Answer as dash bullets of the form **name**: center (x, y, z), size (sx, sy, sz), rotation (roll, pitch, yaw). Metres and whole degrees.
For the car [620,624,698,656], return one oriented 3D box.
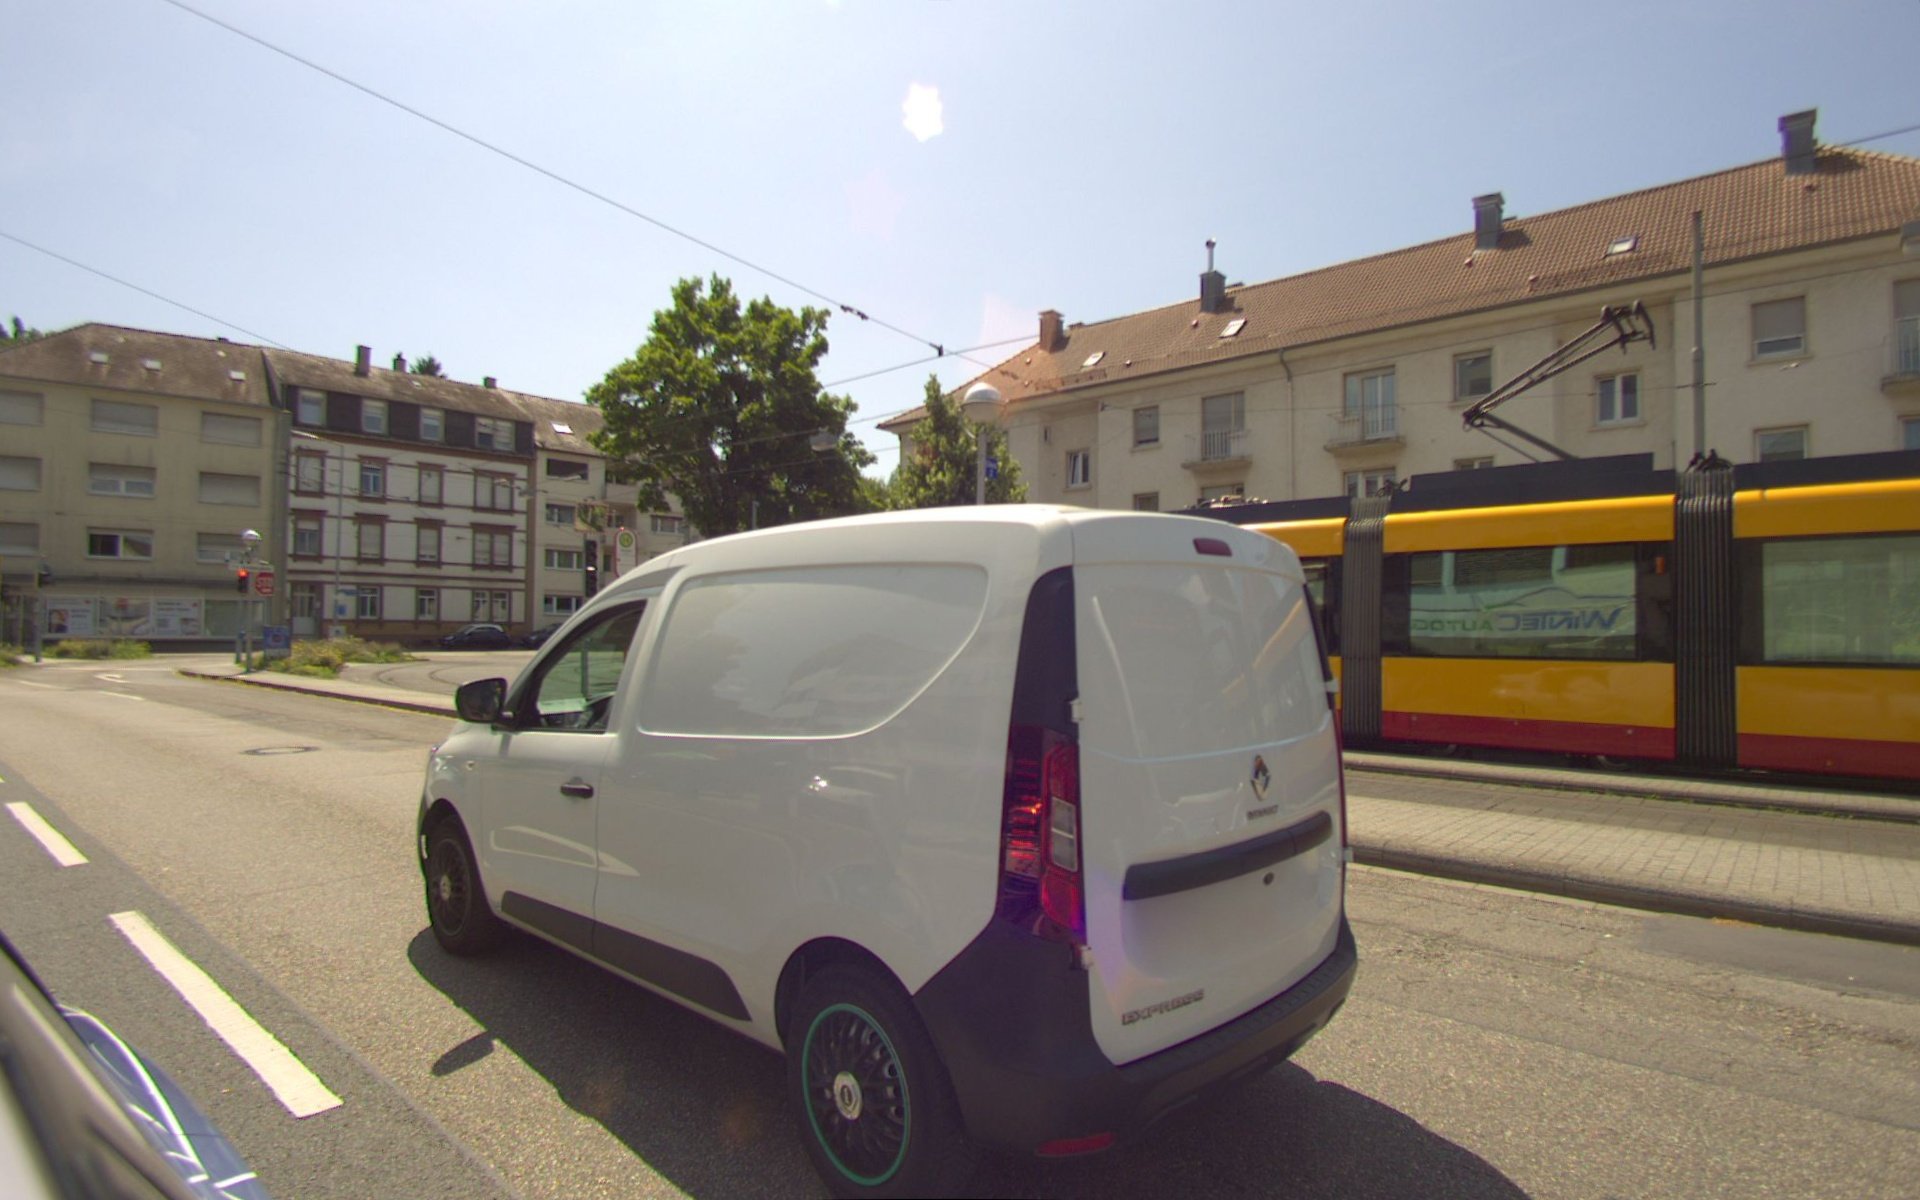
- **car**: center (-17.128, 2.240, 57.684), size (3.937, 1.630, 1.763), rotation (0, 0, -40)

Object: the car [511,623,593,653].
- **car**: center (-23.781, 2.187, 59.107), size (2.001, 1.597, 4.011), rotation (0, 0, 44)

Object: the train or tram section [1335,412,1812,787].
- **train or tram section**: center (7.209, 0.081, 12.066), size (4.415, 3.522, 2.932), rotation (-1, -3, 41)

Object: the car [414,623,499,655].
- **car**: center (-27.609, 2.114, 55.545), size (2.001, 1.597, 3.704), rotation (0, 0, 44)

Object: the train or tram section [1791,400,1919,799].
- **train or tram section**: center (13.515, -0.095, 6.394), size (12.652, 3.522, 2.932), rotation (-1, -1, 42)

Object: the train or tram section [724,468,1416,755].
- **train or tram section**: center (0.850, 0.242, 17.731), size (12.708, 3.522, 2.932), rotation (-1, -1, 42)

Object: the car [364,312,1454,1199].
- **car**: center (-0.780, 0.414, 4.086), size (4.715, 1.864, 1.684), rotation (0, 0, 45)
